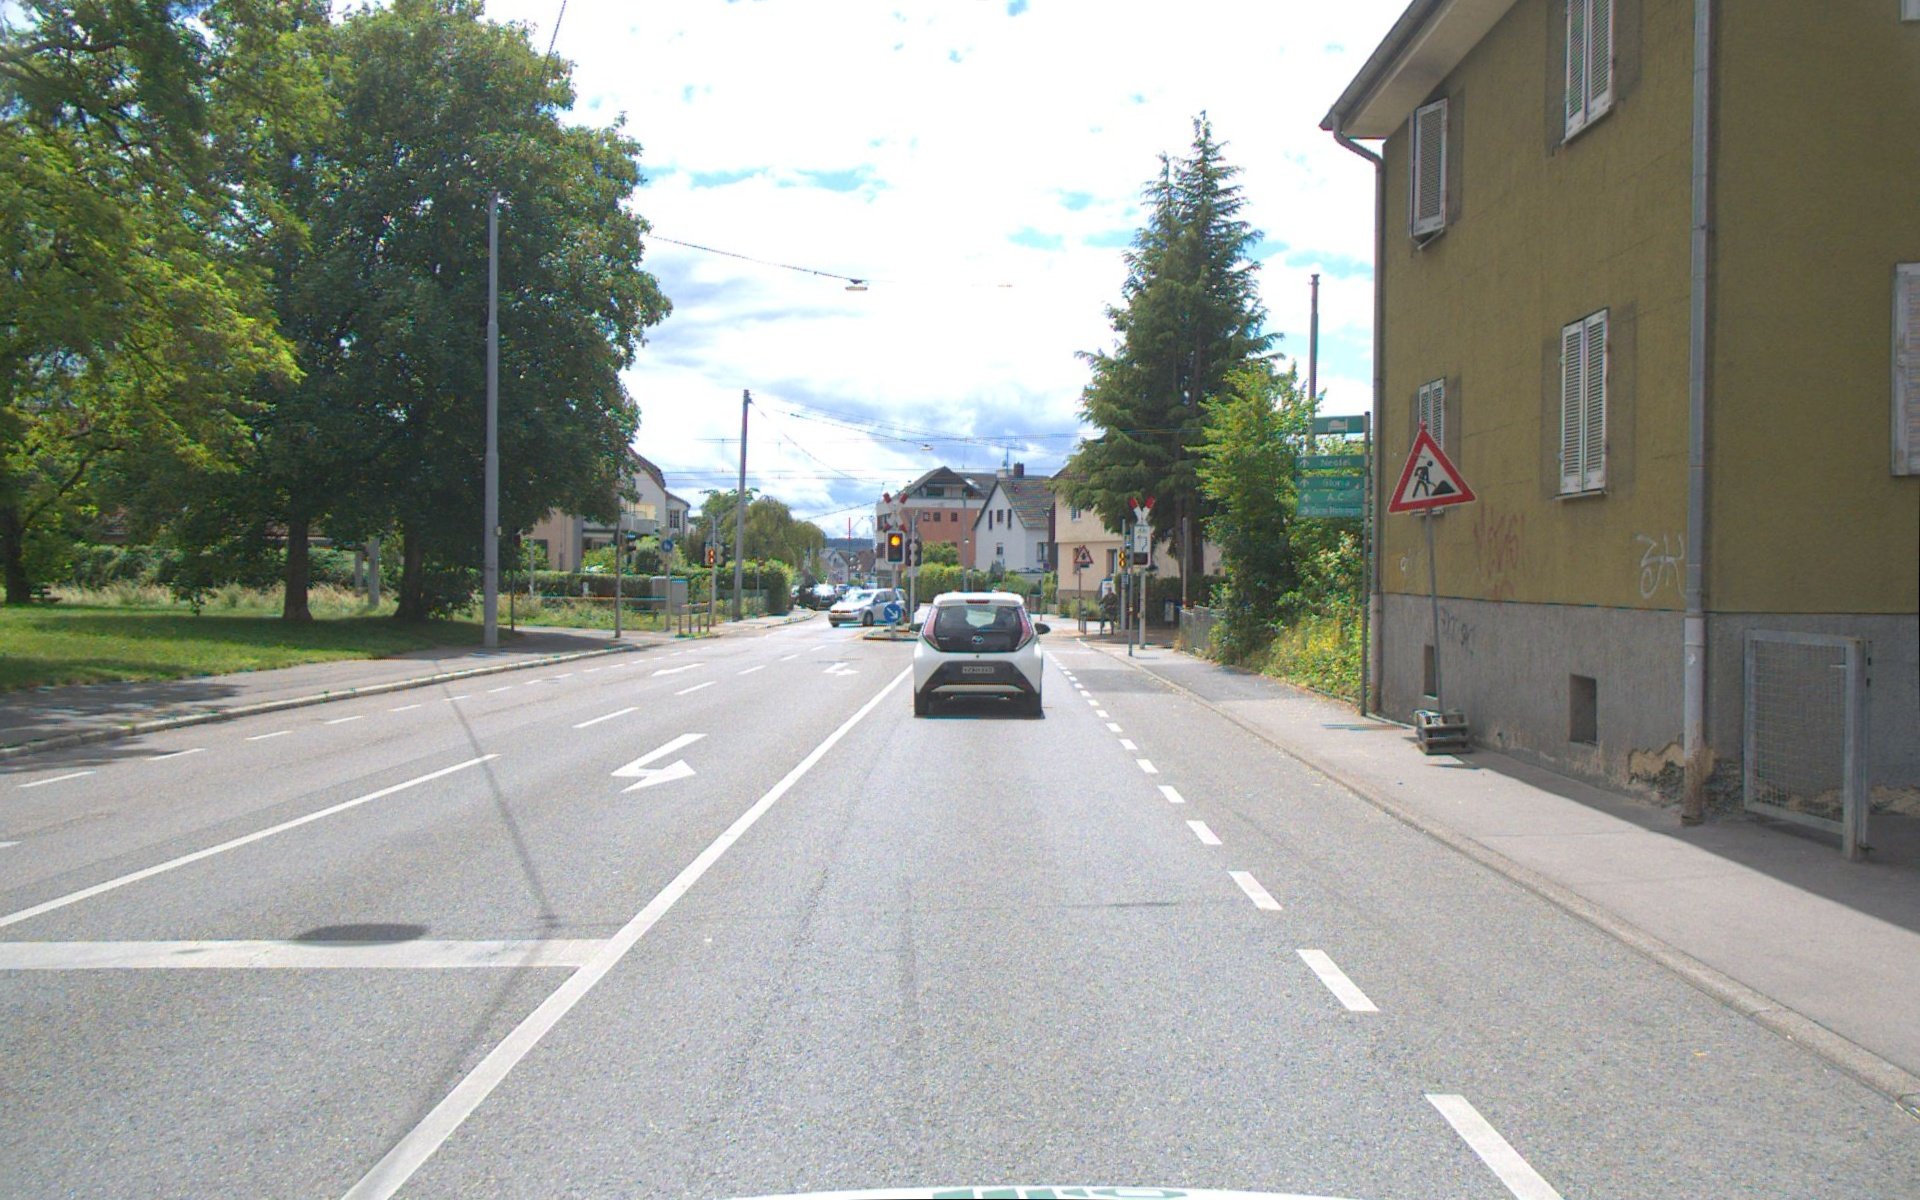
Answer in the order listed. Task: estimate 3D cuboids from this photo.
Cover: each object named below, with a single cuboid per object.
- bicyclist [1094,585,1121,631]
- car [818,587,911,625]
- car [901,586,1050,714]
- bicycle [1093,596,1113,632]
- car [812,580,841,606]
[{"bbox_3d":[5.286,0.285,59.366,0.824,1.580,0.755,-2,2,-5],"label":"bicyclist"},{"bbox_3d":[-3.875,0.272,67.788,1.869,1.466,4.091,1,0,29],"label":"car"},{"bbox_3d":[0.282,0.588,21.380,1.685,1.467,3.710,1,0,4],"label":"car"},{"bbox_3d":[5.123,0.485,59.428,0.448,1.192,1.478,-2,3,-4],"label":"bicycle"},{"bbox_3d":[-9.606,-0.508,118.892,1.955,1.749,3.996,1,0,-5],"label":"car"}]
